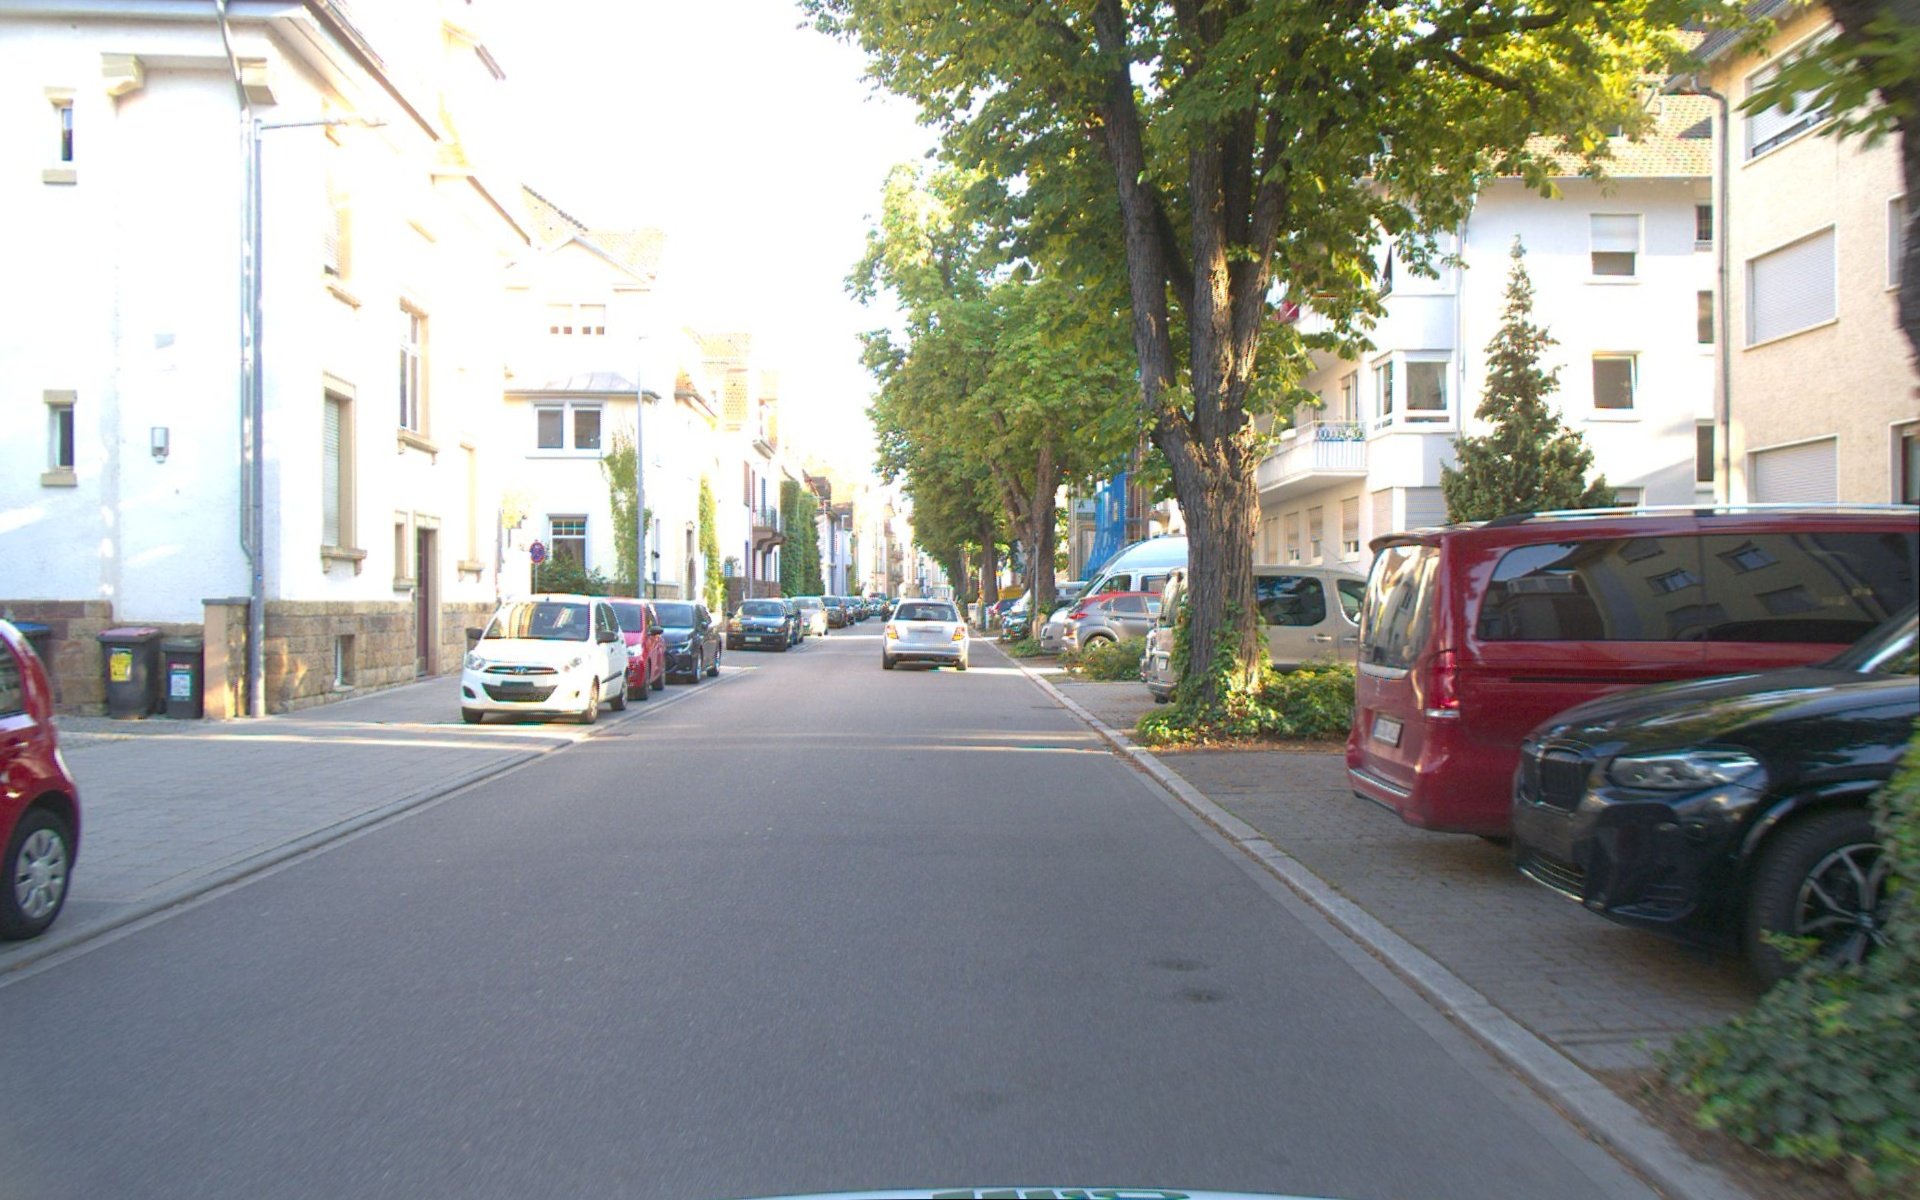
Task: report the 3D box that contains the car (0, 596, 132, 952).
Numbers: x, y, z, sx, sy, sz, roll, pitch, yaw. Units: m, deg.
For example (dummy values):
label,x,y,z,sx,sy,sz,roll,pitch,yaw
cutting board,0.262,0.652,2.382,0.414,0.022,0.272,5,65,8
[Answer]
label,x,y,z,sx,sy,sz,roll,pitch,yaw
car,-4.880,0.730,6.249,1.625,1.514,3.753,0,0,-1

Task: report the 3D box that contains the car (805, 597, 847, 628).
label,x,y,z,sx,sy,sz,roll,pitch,yaw
car,-6.359,0.571,78.555,1.762,1.411,3.605,0,0,-1

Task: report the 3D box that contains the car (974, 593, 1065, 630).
label,x,y,z,sx,sy,sz,roll,pitch,yaw
car,2.506,0.491,70.089,3.765,1.508,1.805,0,0,0

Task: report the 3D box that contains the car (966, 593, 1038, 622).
label,x,y,z,sx,sy,sz,roll,pitch,yaw
car,2.178,0.376,87.166,3.765,1.508,1.805,0,0,0

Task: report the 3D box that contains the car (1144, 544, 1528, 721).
label,x,y,z,sx,sy,sz,roll,pitch,yaw
car,4.320,0.351,19.433,4.047,1.955,1.890,0,0,-3

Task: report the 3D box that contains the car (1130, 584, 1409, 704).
label,x,y,z,sx,sy,sz,roll,pitch,yaw
car,4.229,0.581,22.935,3.523,1.569,1.649,0,0,-3

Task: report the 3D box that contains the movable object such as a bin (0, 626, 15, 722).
label,x,y,z,sx,sy,sz,roll,pitch,yaw
movable object such as a bin,-11.539,0.870,19.421,0.517,1.127,0.589,0,-1,-1

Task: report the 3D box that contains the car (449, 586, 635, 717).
label,x,y,z,sx,sy,sz,roll,pitch,yaw
car,-5.259,0.612,21.222,1.626,1.526,3.751,0,0,-4

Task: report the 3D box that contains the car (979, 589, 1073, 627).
label,x,y,z,sx,sy,sz,roll,pitch,yaw
car,2.678,0.305,67.918,3.765,1.508,1.805,0,0,0

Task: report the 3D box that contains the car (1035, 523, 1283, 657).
label,x,y,z,sx,sy,sz,roll,pitch,yaw
car,4.599,-0.252,38.847,5.432,3.020,2.470,0,0,-4

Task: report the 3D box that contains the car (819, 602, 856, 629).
label,x,y,z,sx,sy,sz,roll,pitch,yaw
car,-6.554,0.818,88.439,1.762,1.411,3.605,0,0,-1

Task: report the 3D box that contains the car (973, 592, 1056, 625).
label,x,y,z,sx,sy,sz,roll,pitch,yaw
car,2.480,0.379,75.953,3.765,1.508,1.805,0,0,0

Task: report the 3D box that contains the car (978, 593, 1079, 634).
label,x,y,z,sx,sy,sz,roll,pitch,yaw
car,2.570,0.484,62.846,3.765,1.508,1.805,0,0,0

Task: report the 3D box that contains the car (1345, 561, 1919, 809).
label,x,y,z,sx,sy,sz,roll,pitch,yaw
car,4.780,0.557,11.759,3.702,1.616,1.794,0,0,2

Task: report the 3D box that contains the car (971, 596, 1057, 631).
label,x,y,z,sx,sy,sz,roll,pitch,yaw
car,2.357,0.584,73.475,3.765,1.508,1.805,0,0,0

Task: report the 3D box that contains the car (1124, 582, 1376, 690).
label,x,y,z,sx,sy,sz,roll,pitch,yaw
car,4.372,0.519,25.251,3.523,1.569,1.649,0,0,-3

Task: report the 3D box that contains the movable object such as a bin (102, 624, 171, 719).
label,x,y,z,sx,sy,sz,roll,pitch,yaw
movable object such as a bin,-9.910,0.858,19.911,0.517,1.127,0.589,0,-1,-1

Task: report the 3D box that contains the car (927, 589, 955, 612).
label,x,y,z,sx,sy,sz,roll,pitch,yaw
car,-1.270,0.063,112.201,1.779,1.498,4.217,0,-1,2

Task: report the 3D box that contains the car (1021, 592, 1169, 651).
label,x,y,z,sx,sy,sz,roll,pitch,yaw
car,3.519,0.543,43.606,3.765,1.508,1.805,0,0,0

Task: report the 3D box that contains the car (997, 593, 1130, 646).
label,x,y,z,sx,sy,sz,roll,pitch,yaw
car,2.997,0.550,48.460,3.765,1.508,1.805,0,0,0

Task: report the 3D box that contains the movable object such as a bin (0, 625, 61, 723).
label,x,y,z,sx,sy,sz,roll,pitch,yaw
movable object such as a bin,-10.983,0.858,19.421,0.517,1.127,0.589,0,-1,-1

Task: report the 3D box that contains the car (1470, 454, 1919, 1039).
label,x,y,z,sx,sy,sz,roll,pitch,yaw
car,4.523,0.485,6.333,4.532,1.869,1.953,1,0,-1

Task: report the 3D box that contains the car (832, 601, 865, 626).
label,x,y,z,sx,sy,sz,roll,pitch,yaw
car,-6.703,0.811,99.809,1.762,1.411,3.605,0,0,-1

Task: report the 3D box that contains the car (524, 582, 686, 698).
label,x,y,z,sx,sy,sz,roll,pitch,yaw
car,-5.493,0.622,26.046,1.762,1.673,3.855,0,-1,-1

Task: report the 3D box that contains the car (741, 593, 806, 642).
label,x,y,z,sx,sy,sz,roll,pitch,yaw
car,-6.057,0.537,54.096,1.762,1.508,3.856,0,0,-1

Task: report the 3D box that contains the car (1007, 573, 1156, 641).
label,x,y,z,sx,sy,sz,roll,pitch,yaw
car,3.782,0.211,51.953,4.428,2.049,2.250,0,0,-3

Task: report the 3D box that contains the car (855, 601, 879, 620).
label,x,y,z,sx,sy,sz,roll,pitch,yaw
car,-7.276,0.794,129.424,1.762,1.411,3.605,0,0,-1

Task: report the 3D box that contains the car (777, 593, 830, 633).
label,x,y,z,sx,sy,sz,roll,pitch,yaw
car,-6.045,0.484,64.340,1.762,1.508,3.856,0,0,-1

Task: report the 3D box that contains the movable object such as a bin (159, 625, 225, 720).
label,x,y,z,sx,sy,sz,roll,pitch,yaw
movable object such as a bin,-9.349,0.875,20.150,0.517,1.127,0.589,0,-1,-1

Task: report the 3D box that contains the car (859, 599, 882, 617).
label,x,y,z,sx,sy,sz,roll,pitch,yaw
car,-7.485,0.678,138.890,1.762,1.411,3.605,0,0,-1

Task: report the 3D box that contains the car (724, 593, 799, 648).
label,x,y,z,sx,sy,sz,roll,pitch,yaw
car,-5.759,0.572,48.373,1.762,1.508,3.856,0,0,-1

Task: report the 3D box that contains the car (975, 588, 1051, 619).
label,x,y,z,sx,sy,sz,roll,pitch,yaw
car,2.632,0.170,83.027,3.765,1.508,1.805,0,0,0

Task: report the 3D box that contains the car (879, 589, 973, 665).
label,x,y,z,sx,sy,sz,roll,pitch,yaw
car,-0.654,0.558,34.708,1.779,1.498,4.217,0,-1,2

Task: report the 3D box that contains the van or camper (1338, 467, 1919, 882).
label,x,y,z,sx,sy,sz,roll,pitch,yaw
van or camper,4.438,0.373,9.245,4.223,2.049,2.000,1,0,2

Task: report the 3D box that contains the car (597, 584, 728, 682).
label,x,y,z,sx,sy,sz,roll,pitch,yaw
car,-5.404,0.551,30.433,1.762,1.673,3.856,0,0,-1

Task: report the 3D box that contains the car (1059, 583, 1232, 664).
label,x,y,z,sx,sy,sz,roll,pitch,yaw
car,3.979,0.479,35.818,3.523,1.689,1.649,0,0,-3

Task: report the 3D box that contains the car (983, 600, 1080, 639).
label,x,y,z,sx,sy,sz,roll,pitch,yaw
car,2.807,0.764,65.651,3.765,1.508,1.805,0,0,0

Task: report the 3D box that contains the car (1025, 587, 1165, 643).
label,x,y,z,sx,sy,sz,roll,pitch,yaw
car,3.727,0.416,46.099,3.765,1.508,1.805,0,0,0
